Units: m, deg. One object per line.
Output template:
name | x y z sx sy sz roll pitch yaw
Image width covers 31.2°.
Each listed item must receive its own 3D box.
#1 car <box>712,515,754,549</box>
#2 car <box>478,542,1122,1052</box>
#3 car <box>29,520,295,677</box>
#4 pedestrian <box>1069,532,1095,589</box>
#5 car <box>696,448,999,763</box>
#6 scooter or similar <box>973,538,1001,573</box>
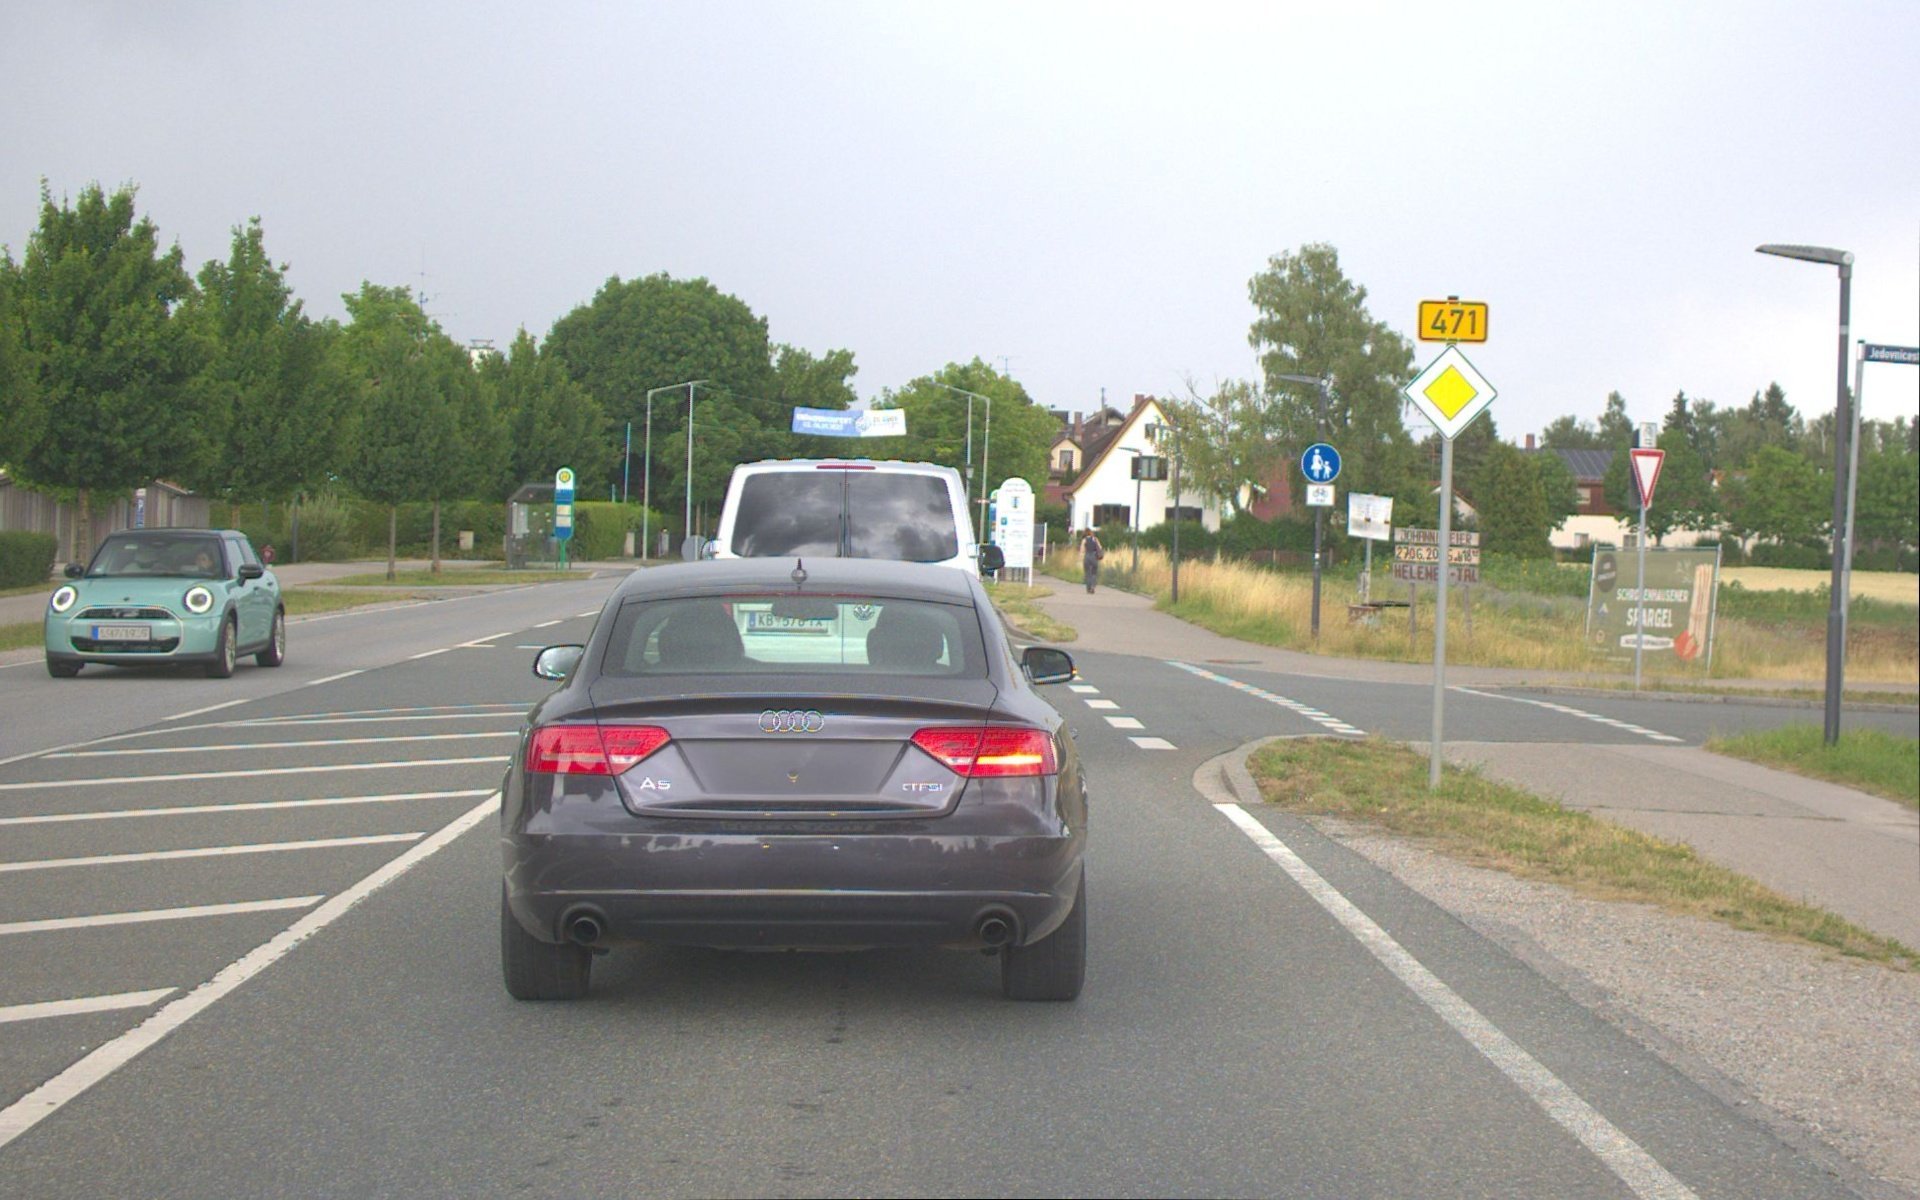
car | -9.893 -2.965 149.940 1.653 1.424 3.603 0 2 -1
car | -0.646 0.517 11.949 1.825 1.384 4.388 0 2 -5
car | -7.853 -0.060 34.159 1.770 1.438 4.000 0 2 -1
pedestrian | 3.241 -1.054 91.340 0.623 1.519 0.680 0 1 -1
car | -0.799 -0.014 23.758 1.825 1.907 4.001 3 1 -2
scooter or similar | 0.847 -1.394 107.556 0.848 1.100 1.094 0 1 -1
